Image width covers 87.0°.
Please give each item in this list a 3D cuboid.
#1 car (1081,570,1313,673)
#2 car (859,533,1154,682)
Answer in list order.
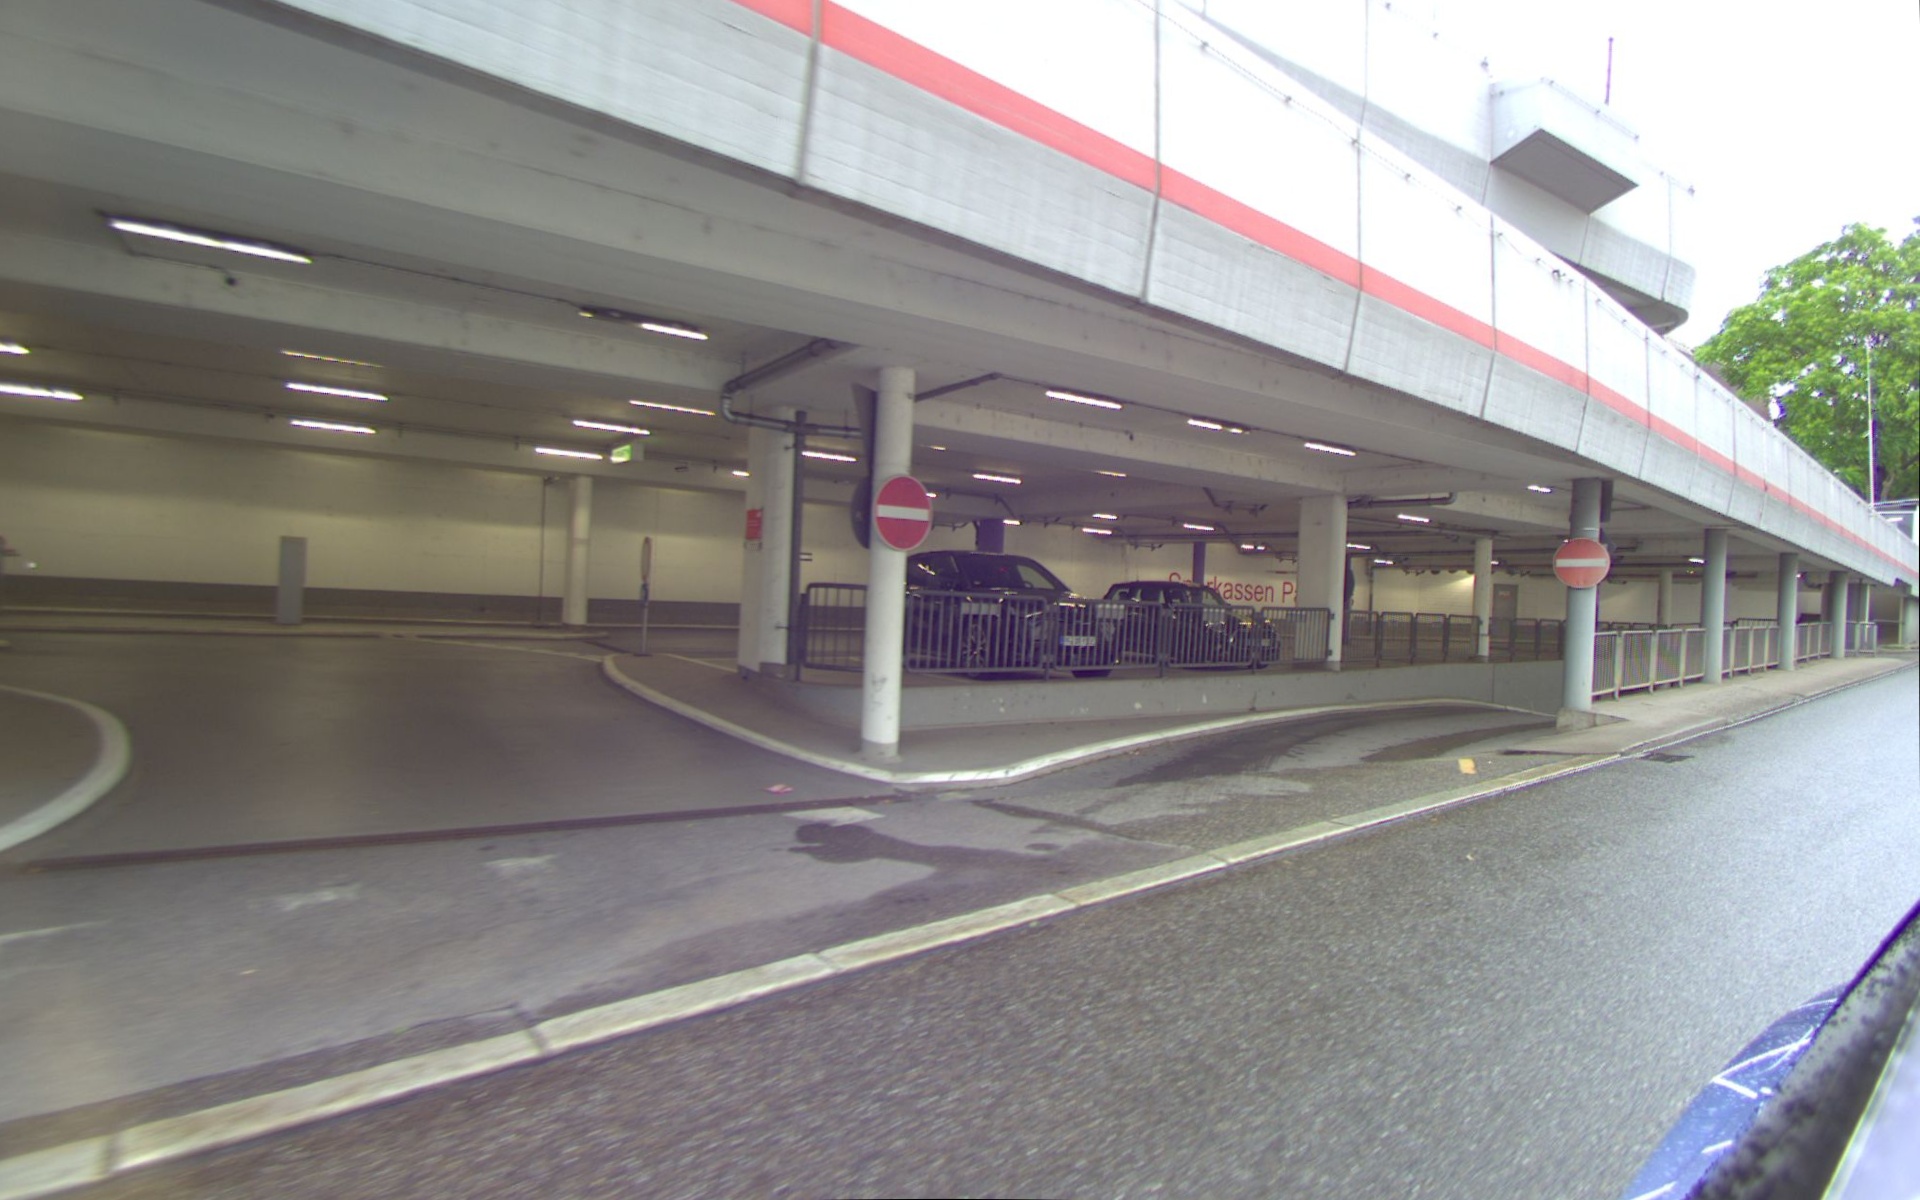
[{"bbox_3d":[3.986,0.308,17.577,1.771,1.524,3.739,2,1,-32],"label":"car"},{"bbox_3d":[0.412,0.074,13.742,1.786,1.660,4.595,-1,0,-30],"label":"car"}]
